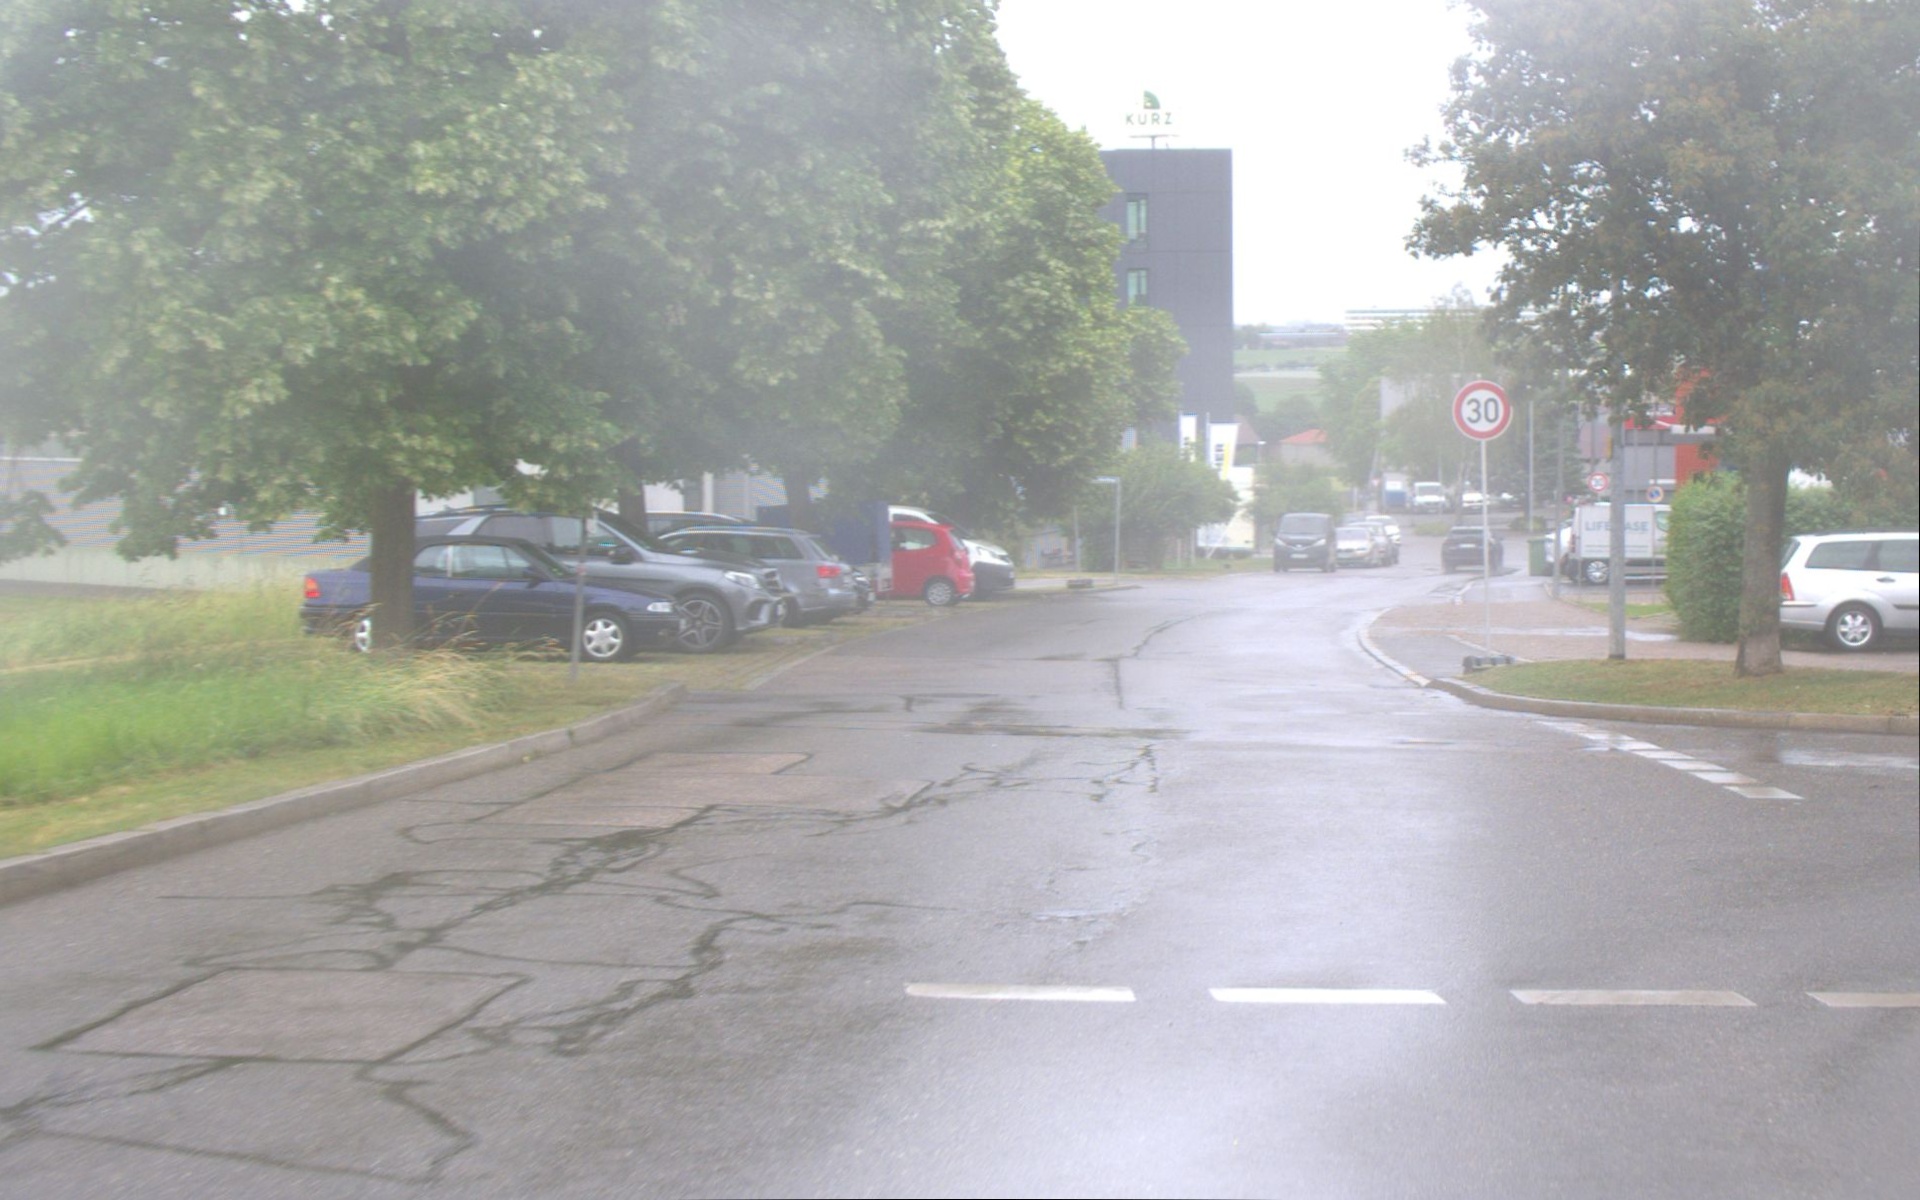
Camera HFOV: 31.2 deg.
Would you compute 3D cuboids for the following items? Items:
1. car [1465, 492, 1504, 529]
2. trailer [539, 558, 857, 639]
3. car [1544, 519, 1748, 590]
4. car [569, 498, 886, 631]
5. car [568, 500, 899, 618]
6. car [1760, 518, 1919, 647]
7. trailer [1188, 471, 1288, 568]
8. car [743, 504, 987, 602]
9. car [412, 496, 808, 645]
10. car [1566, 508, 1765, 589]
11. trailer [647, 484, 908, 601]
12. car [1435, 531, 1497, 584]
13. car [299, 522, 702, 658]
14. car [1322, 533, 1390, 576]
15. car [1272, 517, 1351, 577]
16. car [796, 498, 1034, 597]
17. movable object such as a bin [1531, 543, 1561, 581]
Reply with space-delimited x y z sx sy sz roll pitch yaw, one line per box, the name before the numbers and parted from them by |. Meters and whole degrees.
car | 35.475 -6.026 232.599 2.193 2.451 4.000 0 0 3
trailer | -3.490 -0.034 46.253 3.942 0.958 2.000 1 2 7
car | 16.046 -1.068 80.487 4.599 1.533 2.078 -1 1 12
car | -3.277 -0.518 48.915 4.076 1.716 2.025 2 1 10
car | -3.364 -0.623 51.492 4.619 1.584 1.805 2 1 9
car | 12.282 -0.218 42.963 4.314 1.579 1.858 0 0 8
trailer | 12.229 -3.540 151.492 2.000 4.188 4.185 -1 1 -40
car | -1.689 -0.842 61.978 4.196 1.716 1.755 0 0 6
car | -4.110 -0.347 40.872 4.368 1.716 2.044 0 0 5
car | 15.897 -1.174 77.632 4.342 1.767 2.088 0 1 10
trailer | -3.132 -0.977 59.316 4.214 1.977 1.773 0 0 9
car | 16.390 -1.353 111.549 1.956 1.670 4.471 0 0 8
car | -5.075 -0.115 38.321 4.212 1.426 1.774 1 0 1
car | 14.119 -1.636 122.301 1.957 1.456 5.245 0 1 12
car | 11.067 -1.659 107.984 1.916 1.825 4.845 1 1 13
car | -0.862 -1.009 66.946 4.303 1.899 1.861 0 0 15
movable object such as a bin | 16.173 -1.060 94.861 0.772 1.026 0.808 1 1 13
